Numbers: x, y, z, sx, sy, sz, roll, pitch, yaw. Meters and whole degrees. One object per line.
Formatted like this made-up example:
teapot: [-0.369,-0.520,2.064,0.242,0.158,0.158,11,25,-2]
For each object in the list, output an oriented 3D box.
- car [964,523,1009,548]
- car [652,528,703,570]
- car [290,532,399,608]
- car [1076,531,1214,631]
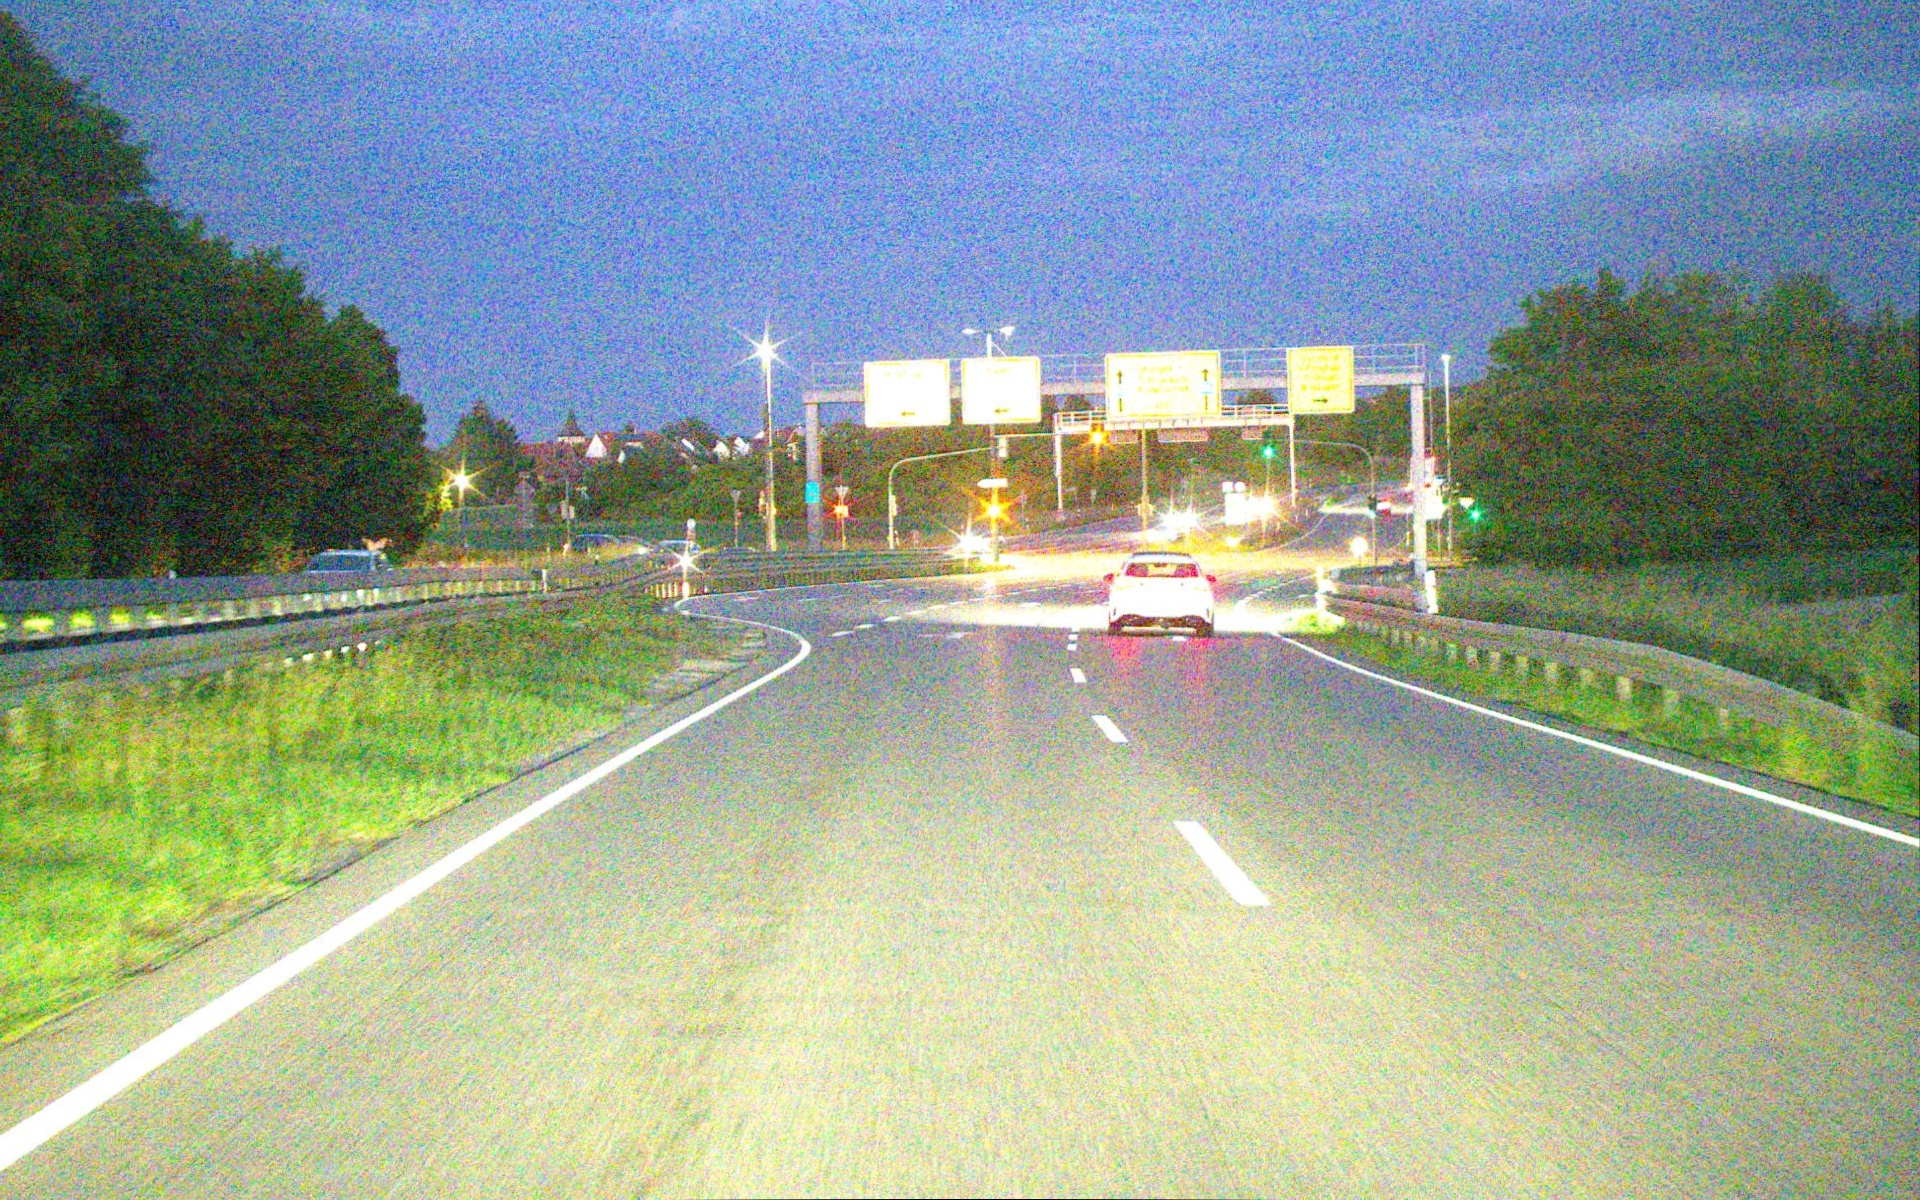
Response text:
car: [1.603,-3.830,204.426,1.994,1.420,4.531,0,2,9]
car: [-11.100,-2.006,135.413,1.701,1.617,4.307,0,1,-1]
car: [-14.189,-0.710,79.482,1.770,1.635,4.661,-2,1,-2]
car: [3.173,-0.360,59.643,2.007,1.605,3.845,-2,1,-2]
